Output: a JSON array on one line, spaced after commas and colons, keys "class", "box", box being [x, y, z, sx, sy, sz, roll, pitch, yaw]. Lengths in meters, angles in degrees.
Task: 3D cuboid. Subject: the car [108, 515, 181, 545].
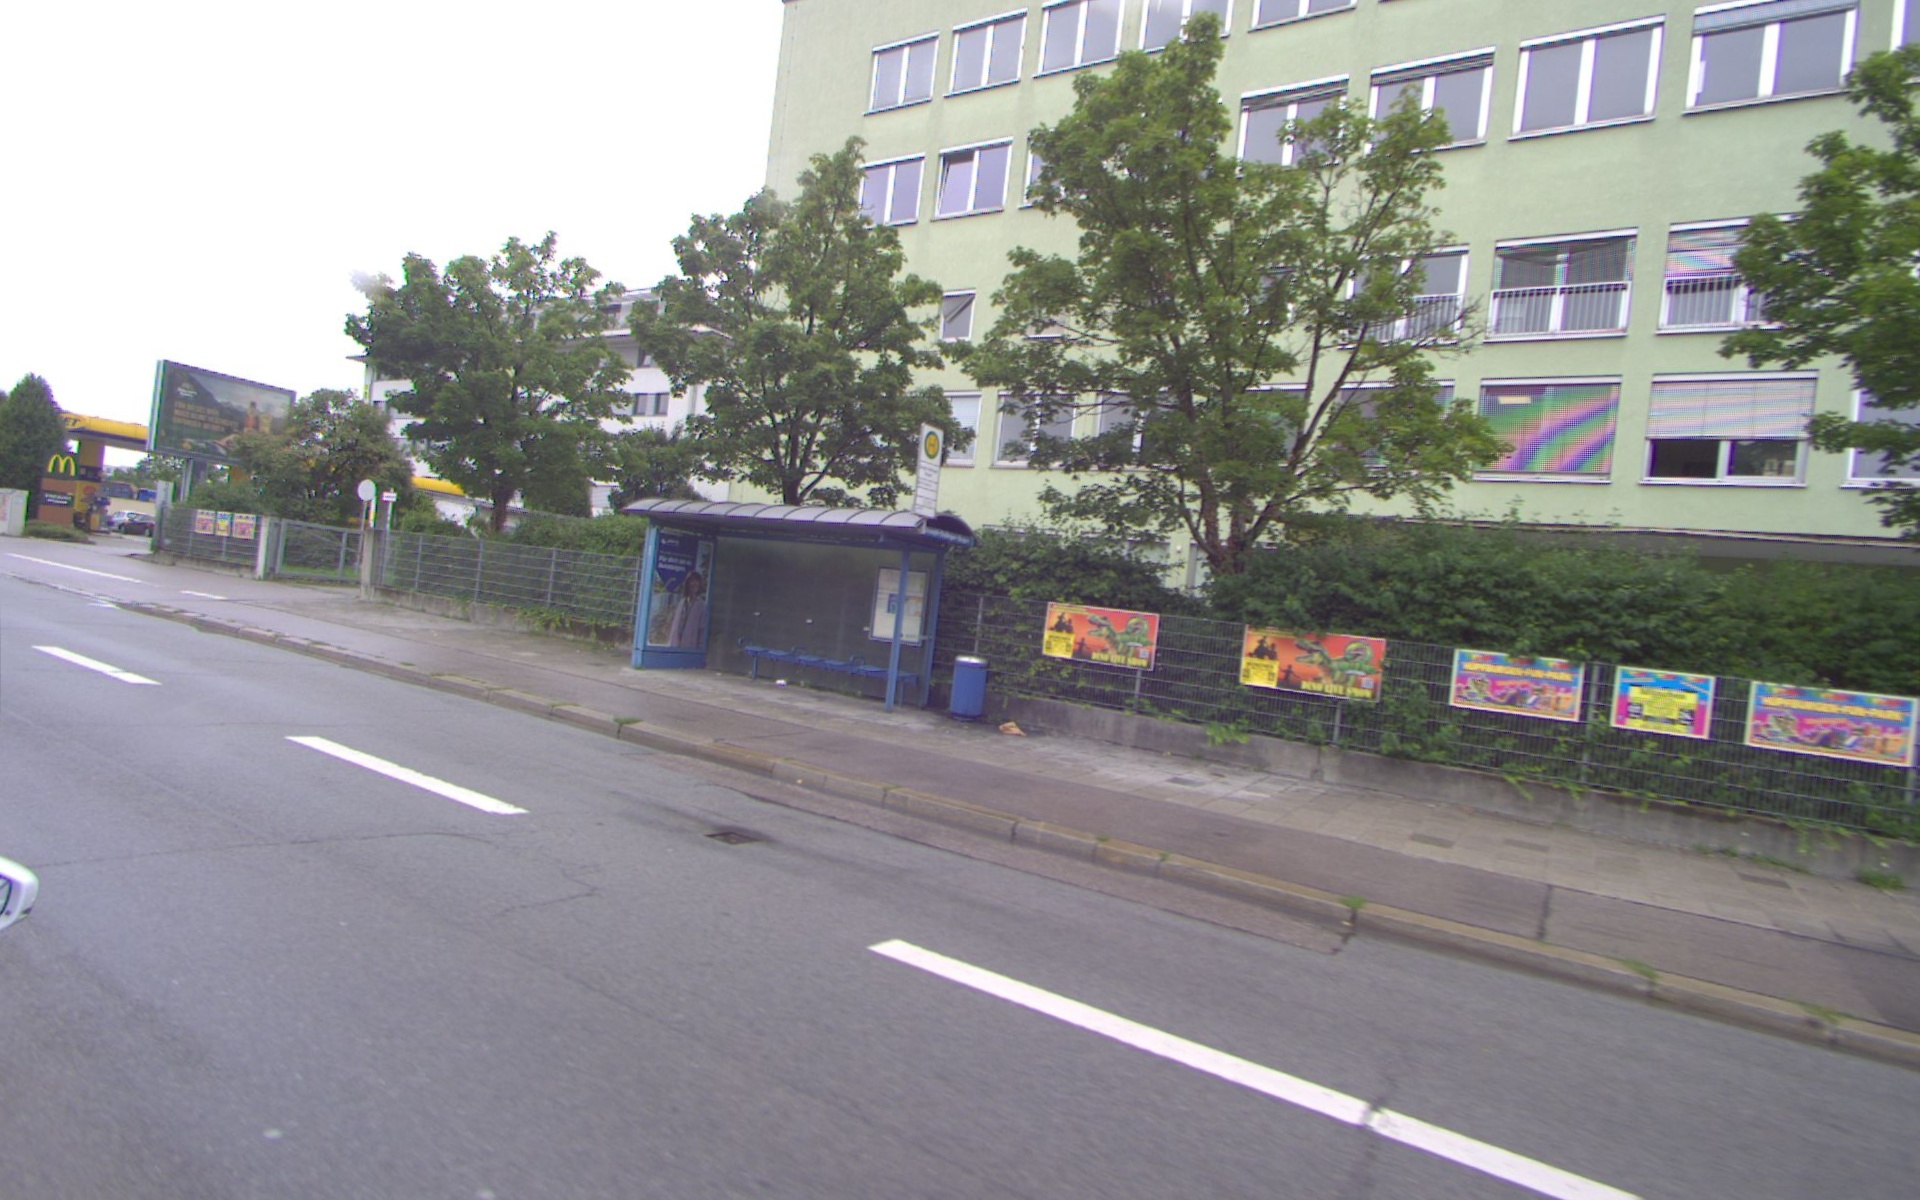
[{"class": "car", "box": [-52.536, -4.503, 64.798, 4.284, 1.400, 1.705, 7, -2, 23]}]

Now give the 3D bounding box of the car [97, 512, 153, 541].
[{"class": "car", "box": [-56.896, -5.005, 68.565, 3.912, 1.503, 1.627, 6, -2, 31]}]
